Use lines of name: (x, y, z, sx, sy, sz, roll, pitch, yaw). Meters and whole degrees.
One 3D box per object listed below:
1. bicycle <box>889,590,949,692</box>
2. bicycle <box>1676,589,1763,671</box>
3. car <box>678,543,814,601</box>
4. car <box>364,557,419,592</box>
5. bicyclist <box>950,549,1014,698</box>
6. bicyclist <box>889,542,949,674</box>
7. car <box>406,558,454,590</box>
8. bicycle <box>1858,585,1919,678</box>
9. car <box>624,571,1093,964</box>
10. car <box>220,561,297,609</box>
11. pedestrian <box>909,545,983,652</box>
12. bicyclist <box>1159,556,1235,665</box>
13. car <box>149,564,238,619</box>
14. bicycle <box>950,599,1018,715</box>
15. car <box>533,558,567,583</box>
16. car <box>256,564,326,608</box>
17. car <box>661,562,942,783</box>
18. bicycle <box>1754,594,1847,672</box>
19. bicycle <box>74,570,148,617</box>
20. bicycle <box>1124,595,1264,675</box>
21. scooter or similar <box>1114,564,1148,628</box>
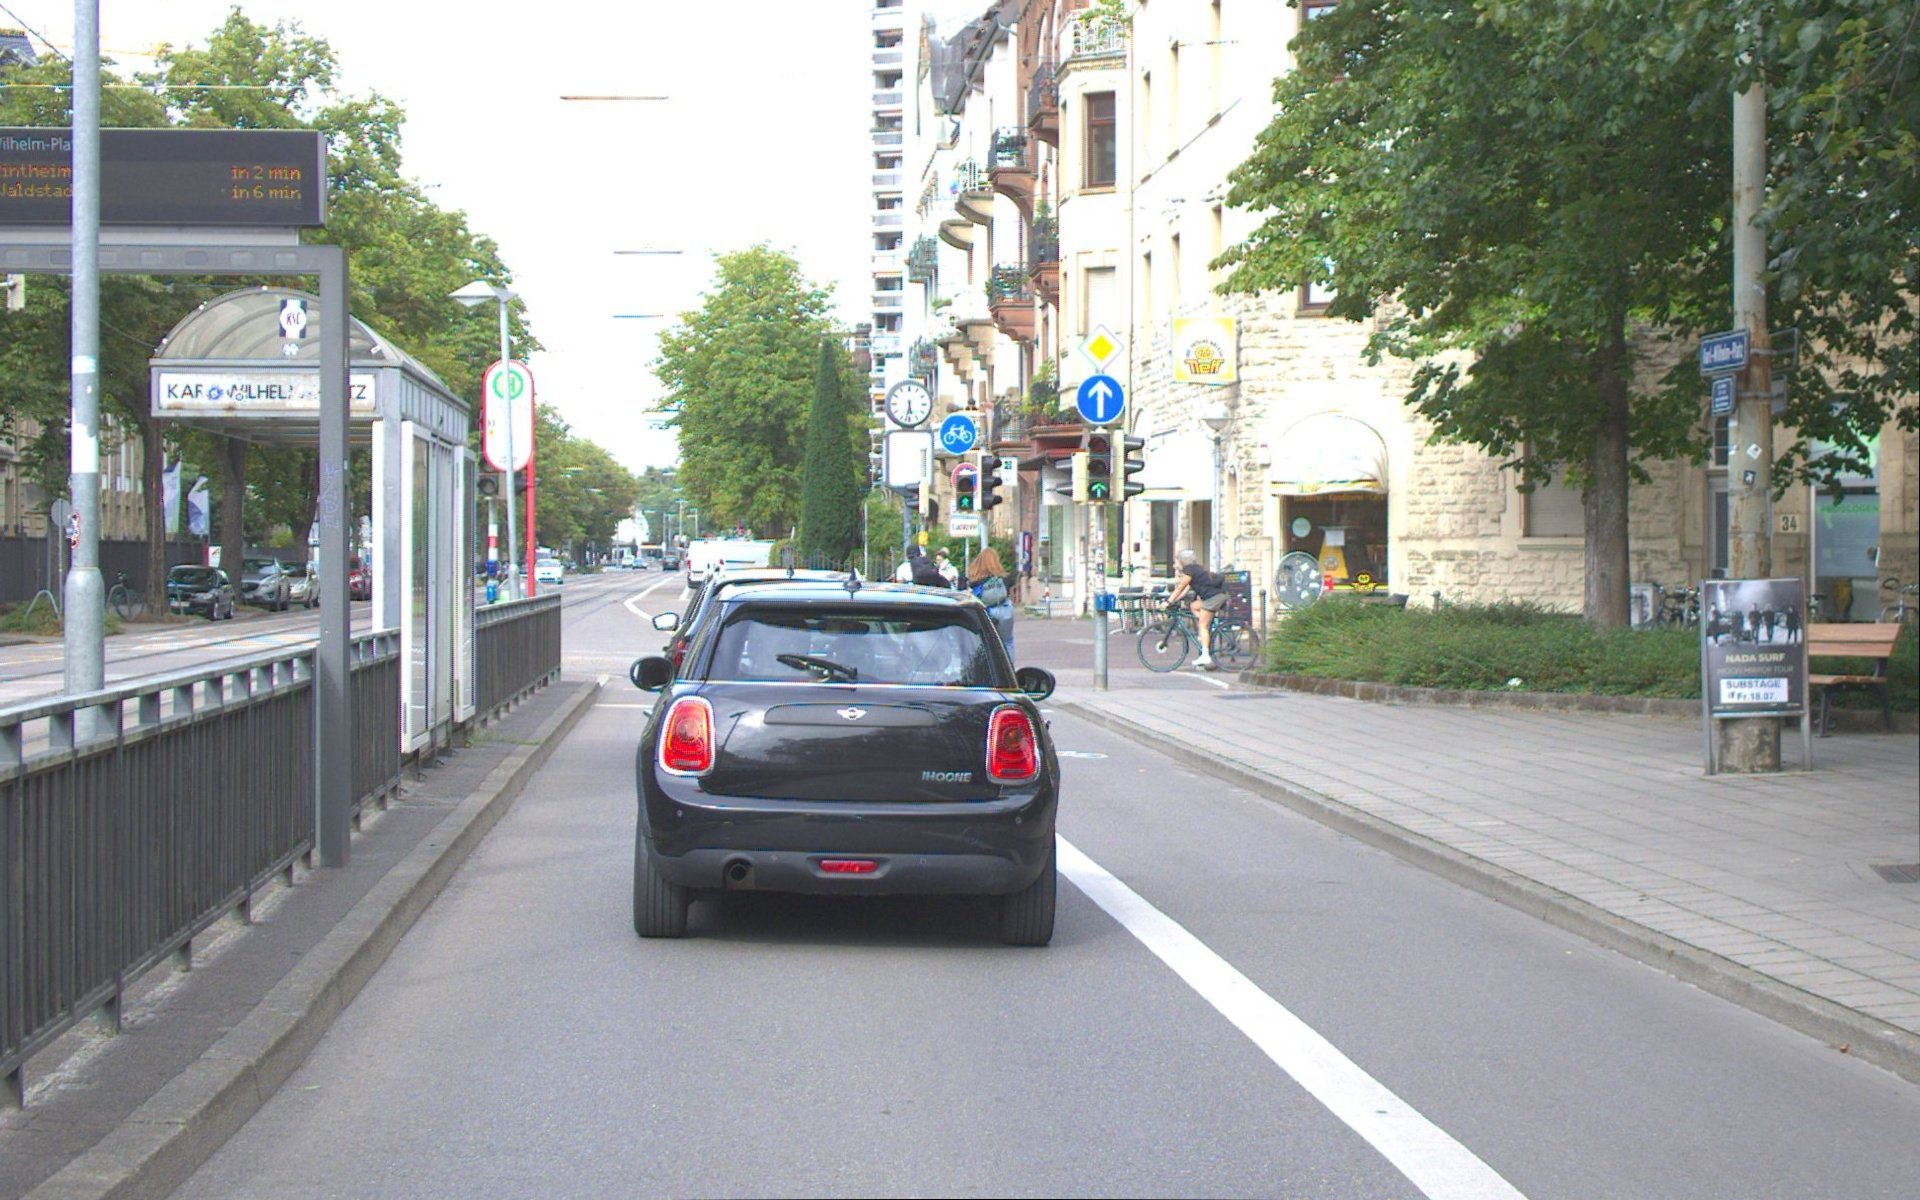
bicycle: (-0.496, 0.477, 41.040, 0.684, 1.166, 1.697, 0, 1, -2)
bicycle: (10.026, 0.385, 45.338, 0.449, 1.051, 1.645, 0, 1, 38)
car: (-8.445, -1.131, 135.784, 5.026, 2.265, 2.395, -1, 1, -44)
car: (-25.177, -1.137, 152.322, 1.993, 1.546, 4.001, 0, 1, -4)
bicyclist: (0.229, 0.233, 36.285, 0.594, 1.545, 1.014, 0, 1, -4)
bicyclist: (-0.497, 0.085, 41.062, 0.684, 1.558, 0.998, 0, 1, -2)
car: (-25.959, -1.278, 168.540, 1.993, 1.546, 4.001, 0, 1, -4)
bicycle: (11.935, 0.382, 43.249, 0.532, 1.124, 1.889, 0, 1, 38)
car: (-0.500, 0.627, 15.121, 1.751, 1.436, 4.001, 2, 1, -3)
car: (-20.952, -0.467, 102.791, 1.766, 1.390, 4.001, 0, 1, -5)
pedestrian: (-0.227, -0.030, 55.898, 0.732, 1.668, 0.833, -2, 1, 43)
bicyclist: (3.248, 0.138, 47.108, 0.913, 1.468, 0.616, 0, 1, 18)
car: (-20.213, -0.235, 90.788, 1.766, 1.390, 4.001, 0, 1, -5)
bicycle: (0.245, 0.589, 36.294, 0.598, 1.166, 1.697, 0, 1, -4)
car: (-23.439, -1.685, 196.534, 1.766, 1.390, 4.001, 0, 1, -5)
car: (-21.462, -0.463, 110.450, 1.766, 1.390, 4.001, 0, 1, -5)
car: (-1.189, 0.476, 25.693, 1.926, 1.504, 4.001, 0, 1, -3)
bicycle: (10.899, 0.415, 44.547, 0.532, 0.969, 1.645, 0, 1, 38)
bicycle: (-20.554, -0.166, 83.281, 1.667, 1.115, 0.572, -1, 1, -43)
bicycle: (3.211, 0.480, 47.130, 1.816, 1.073, 0.616, 0, 1, 18)
scooter or similar: (3.233, -0.083, 65.037, 0.508, 1.184, 1.262, 0, 1, -4)
